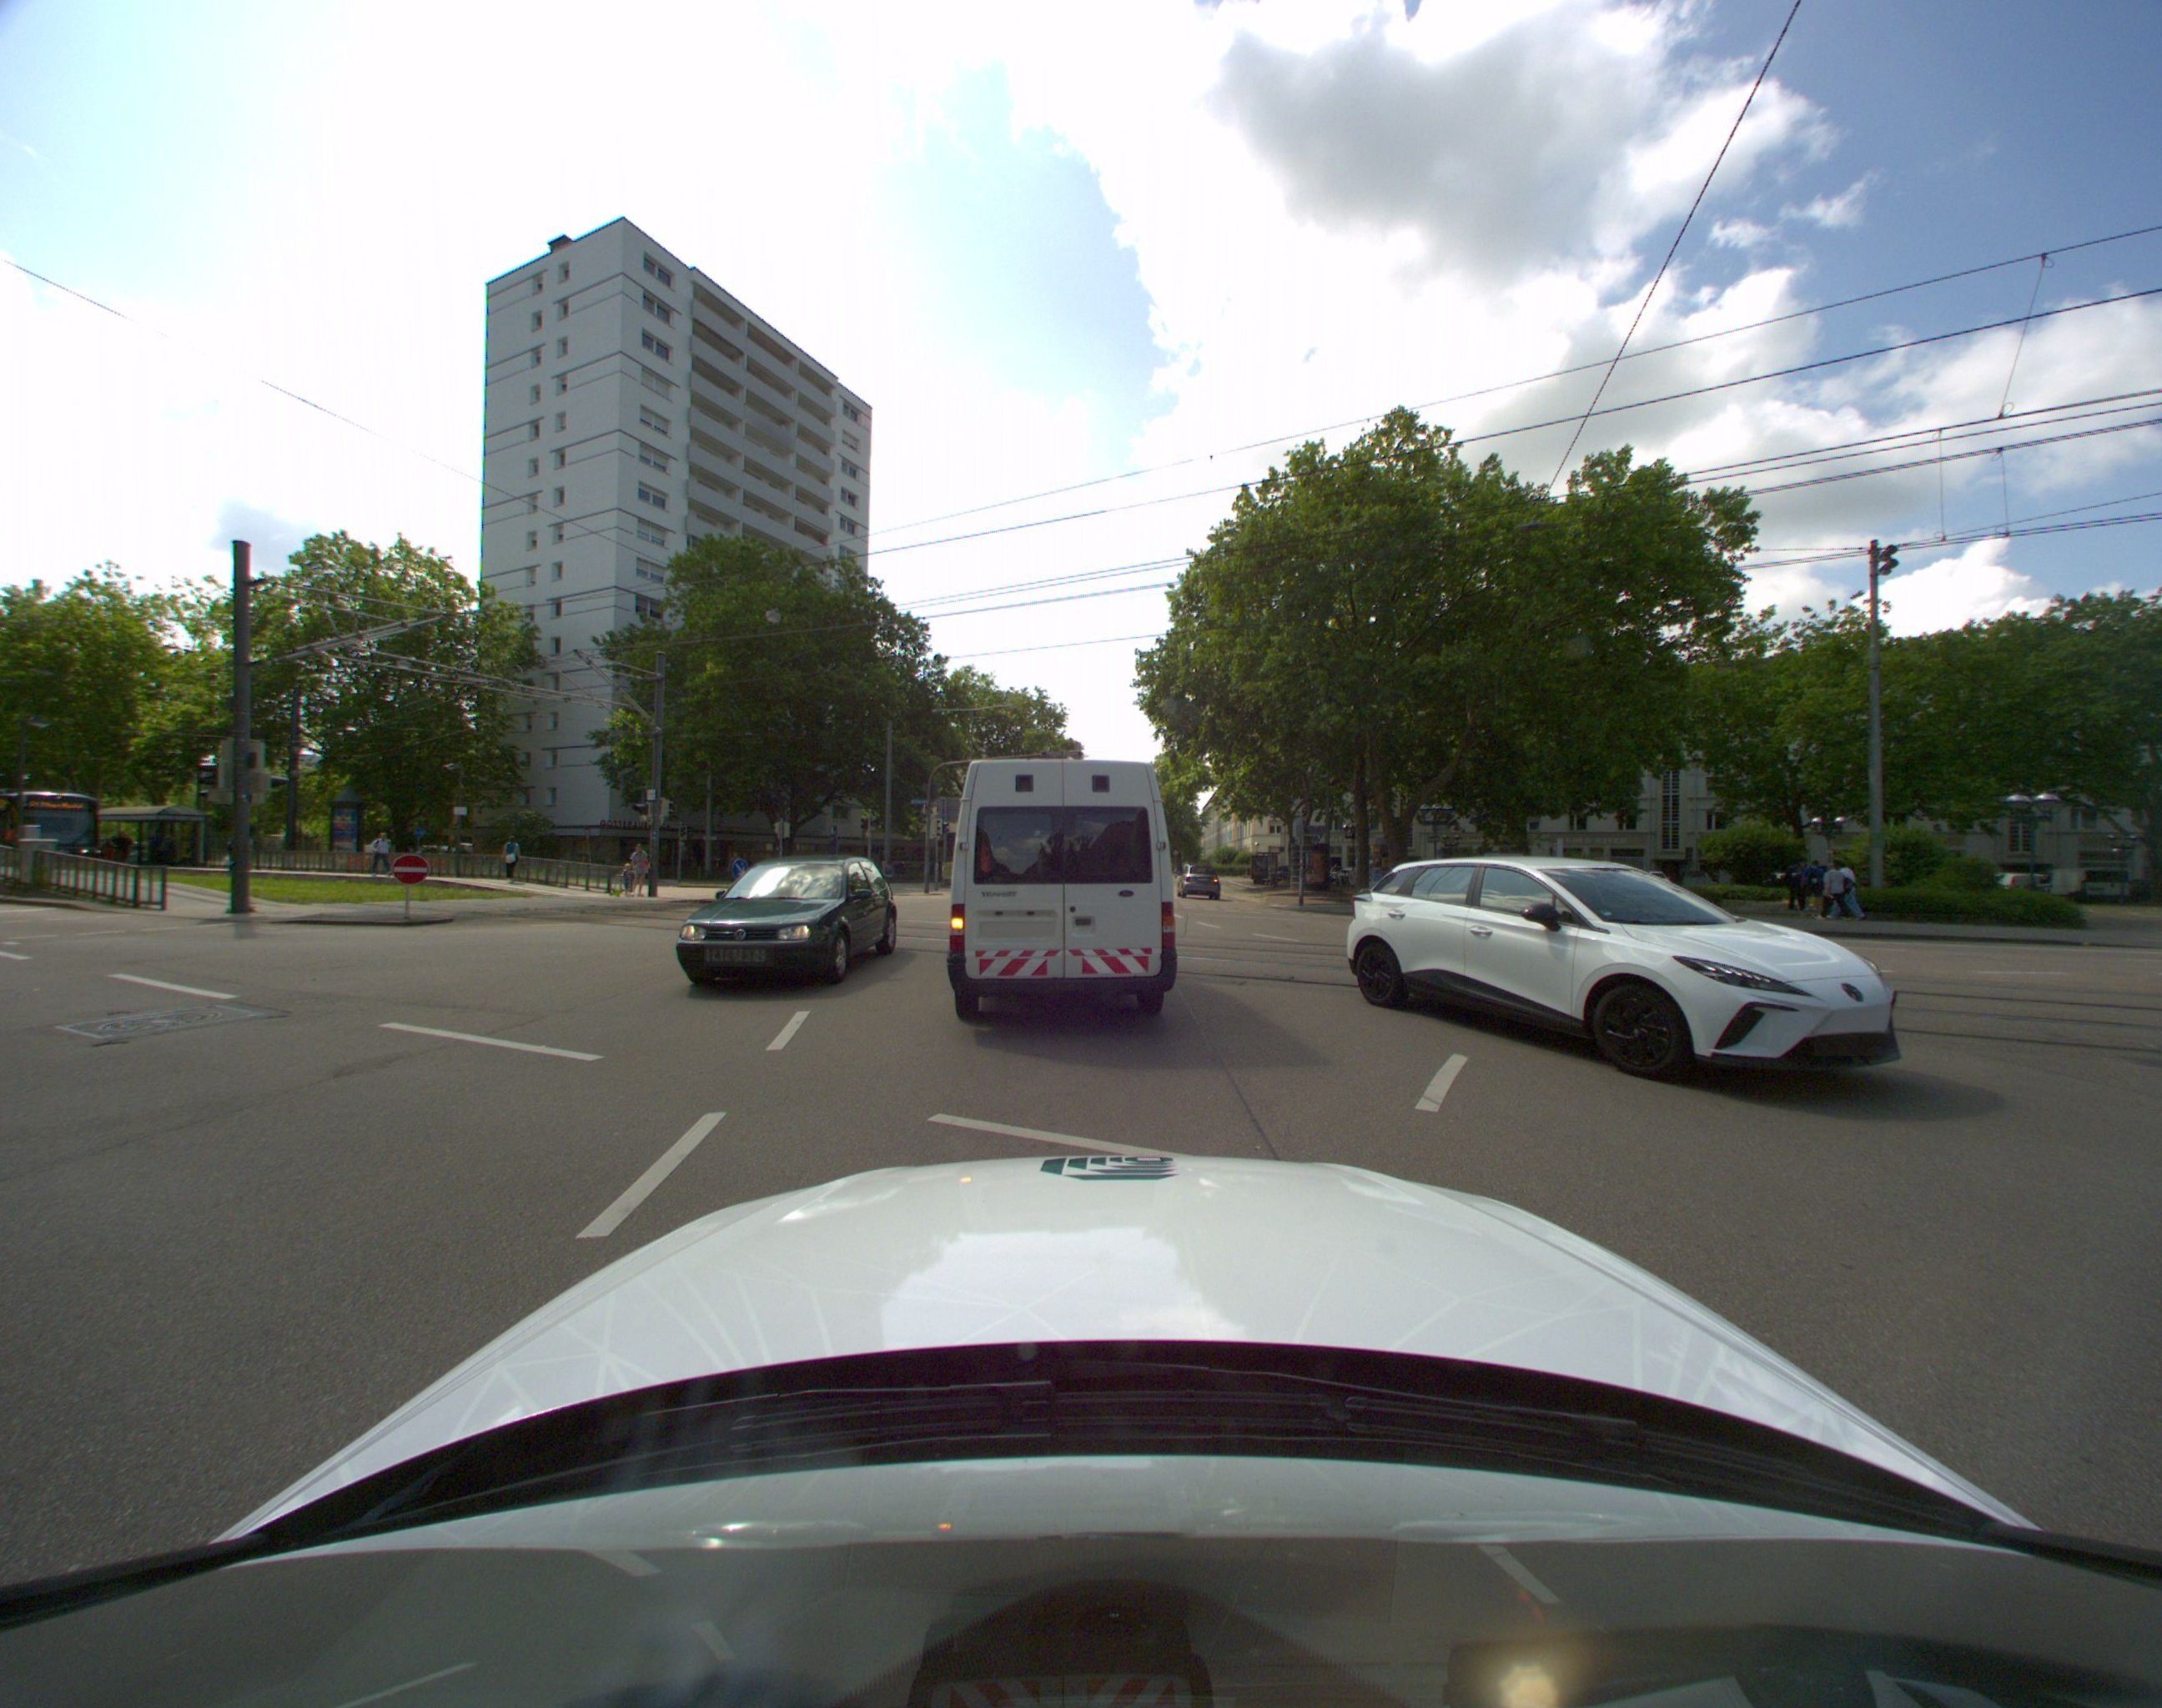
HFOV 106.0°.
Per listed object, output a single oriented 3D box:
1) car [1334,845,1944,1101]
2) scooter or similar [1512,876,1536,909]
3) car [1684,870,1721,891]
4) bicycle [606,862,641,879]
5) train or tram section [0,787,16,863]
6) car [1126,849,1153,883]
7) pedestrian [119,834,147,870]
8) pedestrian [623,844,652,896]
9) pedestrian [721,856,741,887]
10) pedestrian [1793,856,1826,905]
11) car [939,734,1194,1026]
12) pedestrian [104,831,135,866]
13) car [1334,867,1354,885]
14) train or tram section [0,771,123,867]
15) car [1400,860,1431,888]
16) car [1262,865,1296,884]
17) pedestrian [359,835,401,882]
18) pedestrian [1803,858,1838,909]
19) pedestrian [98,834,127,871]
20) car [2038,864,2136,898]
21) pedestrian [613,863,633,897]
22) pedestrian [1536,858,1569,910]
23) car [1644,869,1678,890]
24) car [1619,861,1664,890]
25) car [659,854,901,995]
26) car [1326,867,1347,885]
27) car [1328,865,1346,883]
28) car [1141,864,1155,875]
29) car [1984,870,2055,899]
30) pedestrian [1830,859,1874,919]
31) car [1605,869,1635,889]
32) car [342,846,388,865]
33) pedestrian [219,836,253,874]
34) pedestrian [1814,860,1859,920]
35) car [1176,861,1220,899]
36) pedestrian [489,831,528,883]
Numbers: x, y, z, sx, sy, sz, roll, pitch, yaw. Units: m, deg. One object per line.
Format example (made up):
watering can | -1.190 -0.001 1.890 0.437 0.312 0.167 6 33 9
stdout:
car | 4.212 0.715 7.042 1.820 1.506 4.104 1 0 -19
scooter or similar | 14.634 1.257 26.905 0.699 1.056 0.494 0 -1 27
car | 49.882 2.082 65.447 1.722 1.637 4.024 0 -1 28
bicycle | -27.378 0.979 48.719 1.736 1.009 0.528 1 -1 -37
train or tram section | -55.626 -1.428 39.391 10.275 3.584 2.821 1 -1 25
car | 4.915 0.981 68.431 2.110 2.641 6.335 1 0 4
pedestrian | -49.371 -0.094 42.411 0.779 1.849 0.707 0 -1 25
pedestrian | -14.401 0.515 26.451 0.668 1.666 0.629 0 -1 45
pedestrian | -18.076 0.885 42.056 0.775 1.599 0.538 0 -1 23
pedestrian | 26.670 0.961 29.816 0.694 1.750 0.606 1 -1 2
car | -0.248 0.211 8.950 2.043 2.333 4.708 1 0 -4
pedestrian | -52.869 -0.313 44.766 1.018 1.873 0.817 0 -1 25
car | 21.589 1.796 66.821 1.453 1.389 3.251 1 -1 19
train or tram section | -45.198 -1.344 34.385 12.855 3.584 2.832 1 -1 25
car | 26.662 1.589 64.835 1.975 2.076 4.023 1 -1 27
car | 16.884 1.727 69.363 2.009 1.600 4.564 0 -1 24
pedestrian | -27.035 0.178 31.419 1.032 1.780 0.856 0 -1 26
pedestrian | 25.913 1.020 28.540 0.694 1.750 0.606 1 -1 2
pedestrian | -49.598 -0.080 41.708 0.897 1.849 0.707 0 -1 25
car | 60.027 1.592 48.714 2.078 1.905 4.518 0 -1 28
pedestrian | -14.597 0.831 25.954 0.431 1.063 0.423 0 -1 44
pedestrian | 15.345 0.963 26.519 0.911 1.646 0.573 0 -1 27
car | 47.463 2.071 66.701 1.722 1.637 4.024 0 -1 28
car | 40.290 1.511 58.648 1.975 2.014 4.022 0 -1 24
car | -3.538 0.724 10.351 1.708 1.433 3.816 -1 0 -1
car | 19.870 1.707 63.316 1.454 1.389 3.080 1 -1 17
car | 24.575 1.943 78.168 1.453 1.666 3.083 1 -1 22
car | 9.045 2.079 109.995 1.718 1.555 3.636 1 -1 3
car | 66.434 2.127 57.735 1.975 1.964 4.024 0 -1 28
pedestrian | 23.163 1.043 24.476 0.665 1.764 0.693 1 -1 2
car | 44.959 2.060 68.008 1.722 1.637 4.024 0 -1 28
car | -69.425 0.125 78.956 4.284 1.815 1.824 0 -1 27
pedestrian | -40.610 0.046 39.136 0.865 1.775 0.865 0 -1 26
pedestrian | 22.339 1.046 24.093 0.714 1.722 0.693 1 -1 2
car | 5.194 1.127 36.441 1.684 1.538 3.472 1 0 4
pedestrian | -21.065 0.115 29.985 0.836 1.899 0.834 0 -1 26
